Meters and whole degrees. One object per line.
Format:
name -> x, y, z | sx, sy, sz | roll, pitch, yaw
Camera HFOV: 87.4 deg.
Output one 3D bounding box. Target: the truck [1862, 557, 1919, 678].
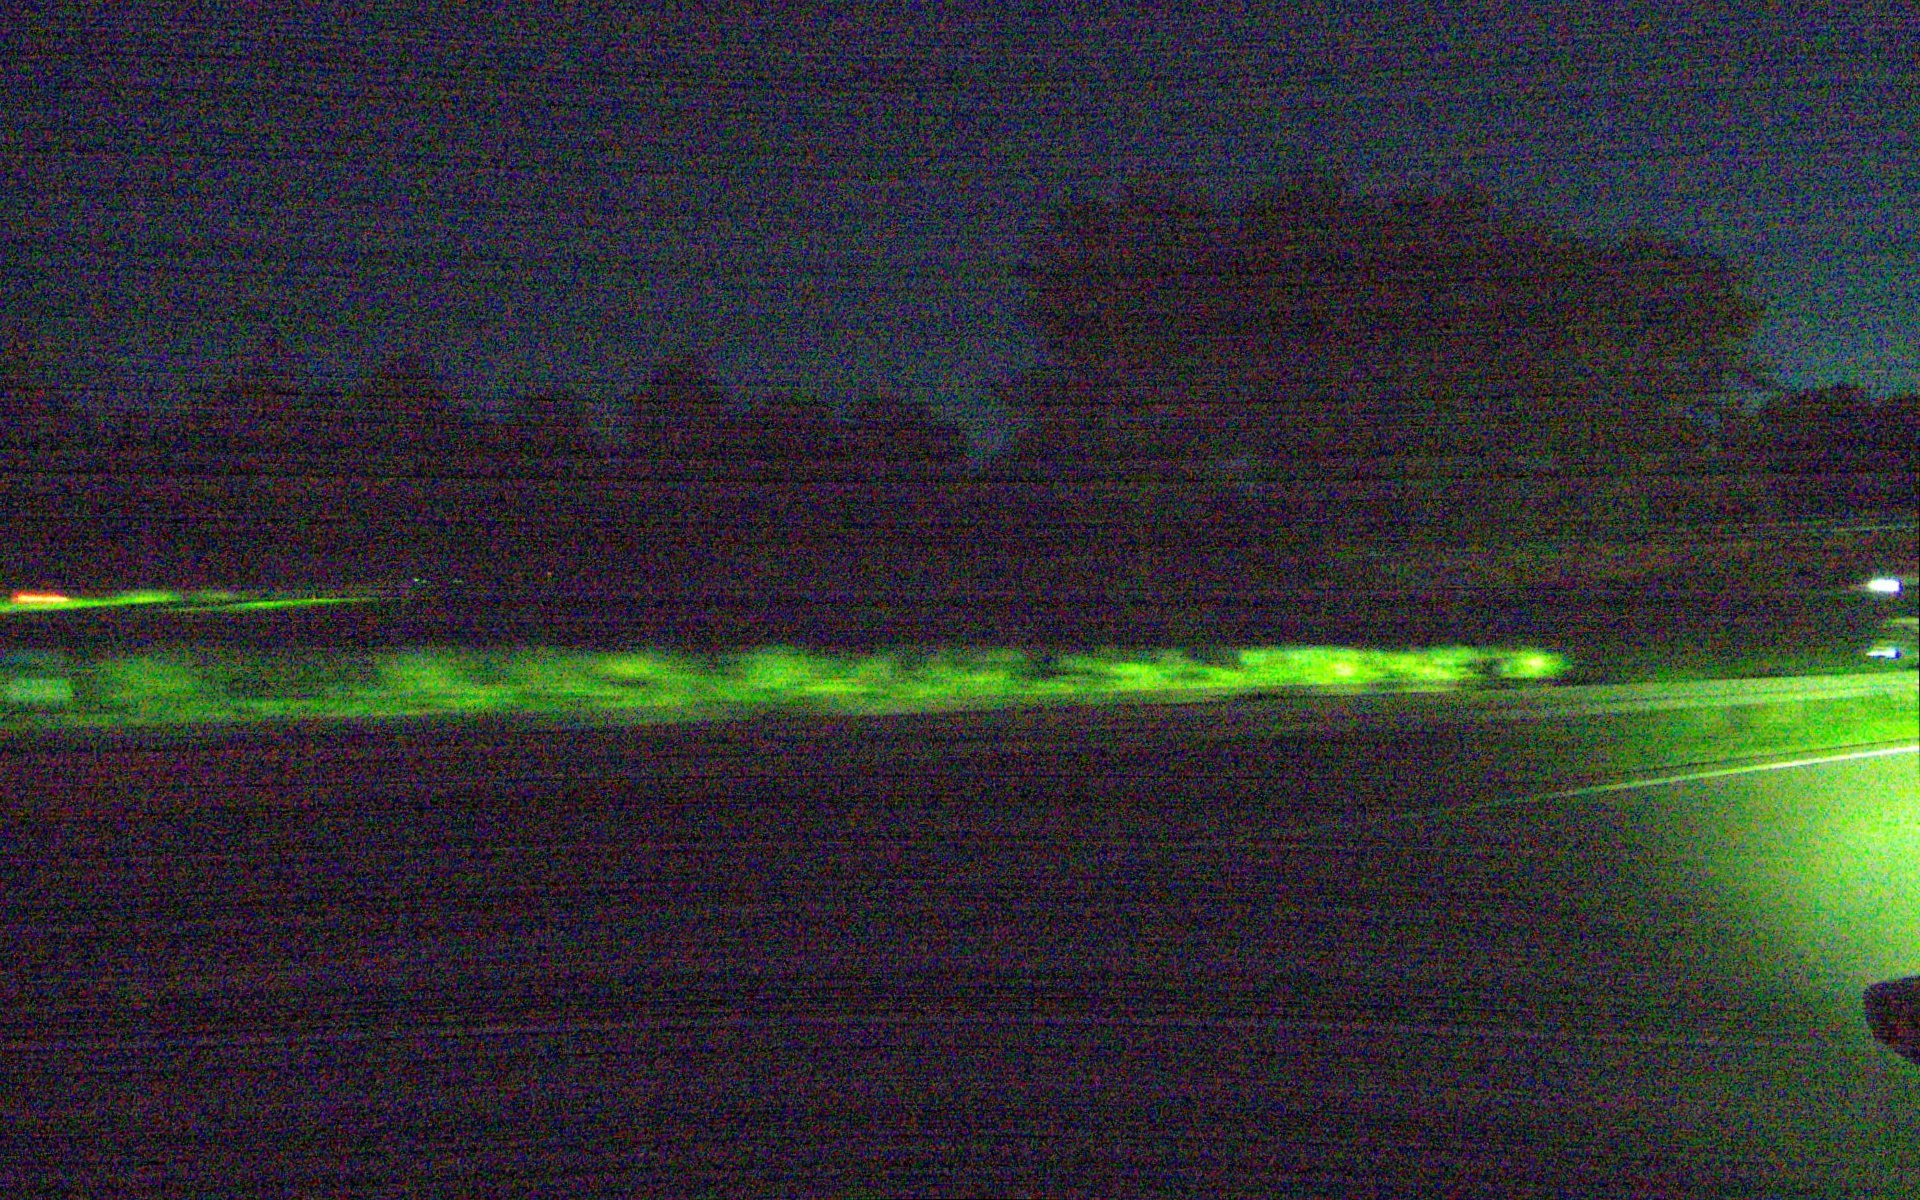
truck -> 37.250, 0.698, 36.498 | 10.507, 4.097, 2.673 | 1, -2, -25
